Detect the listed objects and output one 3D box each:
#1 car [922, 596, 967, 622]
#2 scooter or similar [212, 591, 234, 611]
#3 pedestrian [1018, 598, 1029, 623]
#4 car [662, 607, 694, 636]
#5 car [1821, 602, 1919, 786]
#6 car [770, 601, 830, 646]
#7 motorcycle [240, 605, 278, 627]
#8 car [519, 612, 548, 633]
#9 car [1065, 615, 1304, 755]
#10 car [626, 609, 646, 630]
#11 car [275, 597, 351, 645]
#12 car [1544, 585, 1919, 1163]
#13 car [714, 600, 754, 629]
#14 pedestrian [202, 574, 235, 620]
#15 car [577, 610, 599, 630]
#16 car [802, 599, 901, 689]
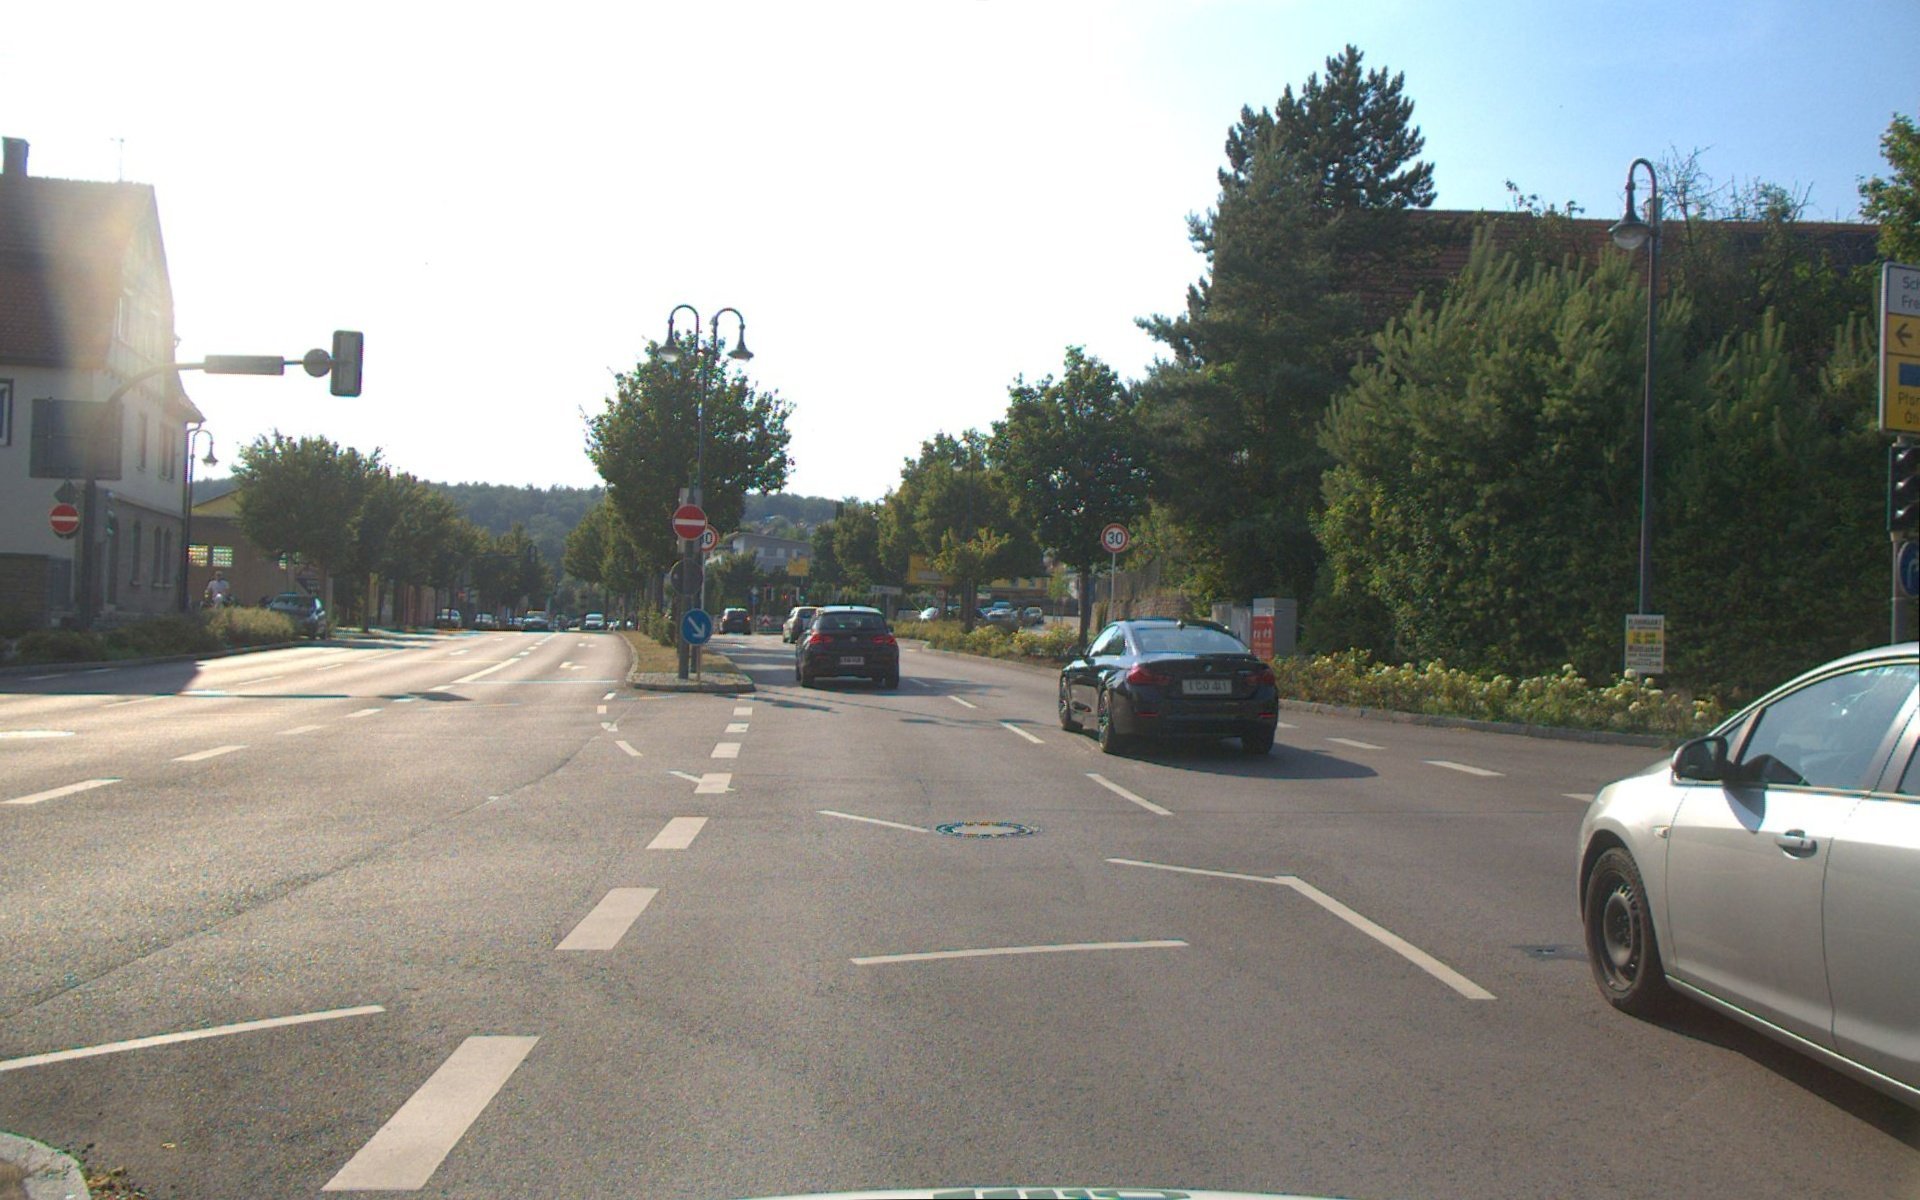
[{"bbox_3d":[-1.288,0.751,137.878,2.095,2.167,5.126,1,0,20],"label":"car"},{"bbox_3d":[-22.797,0.024,51.165,0.436,0.592,1.040,1,0,-14],"label":"scooter or similar"},{"bbox_3d":[4.402,0.745,114.635,0.682,1.732,0.949,1,-1,-4],"label":"pedestrian"},{"bbox_3d":[-17.454,1.319,102.425,1.726,1.800,3.958,1,0,-13],"label":"car"},{"bbox_3d":[9.929,0.839,14.267,4.190,1.594,1.784,1,0,39],"label":"car"},{"bbox_3d":[-6.599,0.945,67.987,1.892,1.800,4.439,1,0,-13],"label":"car"},{"bbox_3d":[-33.884,0.771,79.967,0.505,1.088,1.869,0,-1,23],"label":"motorcycle"},{"bbox_3d":[-29.160,1.503,113.198,1.725,1.385,4.470,1,0,-13],"label":"car"},{"bbox_3d":[2.377,0.869,18.635,1.882,1.388,4.350,0,-1,-3],"label":"car"},{"bbox_3d":[-32.452,1.941,165.788,1.739,2.049,3.992,1,0,-8],"label":"car"},{"bbox_3d":[-22.415,0.714,57.423,1.726,1.479,4.119,5,-1,-12],"label":"car"},{"bbox_3d":[3.358,0.721,4.885,1.686,1.516,4.305,0,0,-1],"label":"car"},{"bbox_3d":[-14.523,0.910,106.133,2.178,1.800,4.439,1,0,-13],"label":"car"},{"bbox_3d":[-23.298,-0.102,51.974,0.798,1.418,0.704,1,0,-14],"label":"pedestrian"},{"bbox_3d":[-31.779,1.679,141.456,1.699,1.708,3.989,1,0,-11],"label":"car"},{"bbox_3d":[-2.084,0.770,30.801,1.688,1.516,4.347,1,0,-6],"label":"car"}]
